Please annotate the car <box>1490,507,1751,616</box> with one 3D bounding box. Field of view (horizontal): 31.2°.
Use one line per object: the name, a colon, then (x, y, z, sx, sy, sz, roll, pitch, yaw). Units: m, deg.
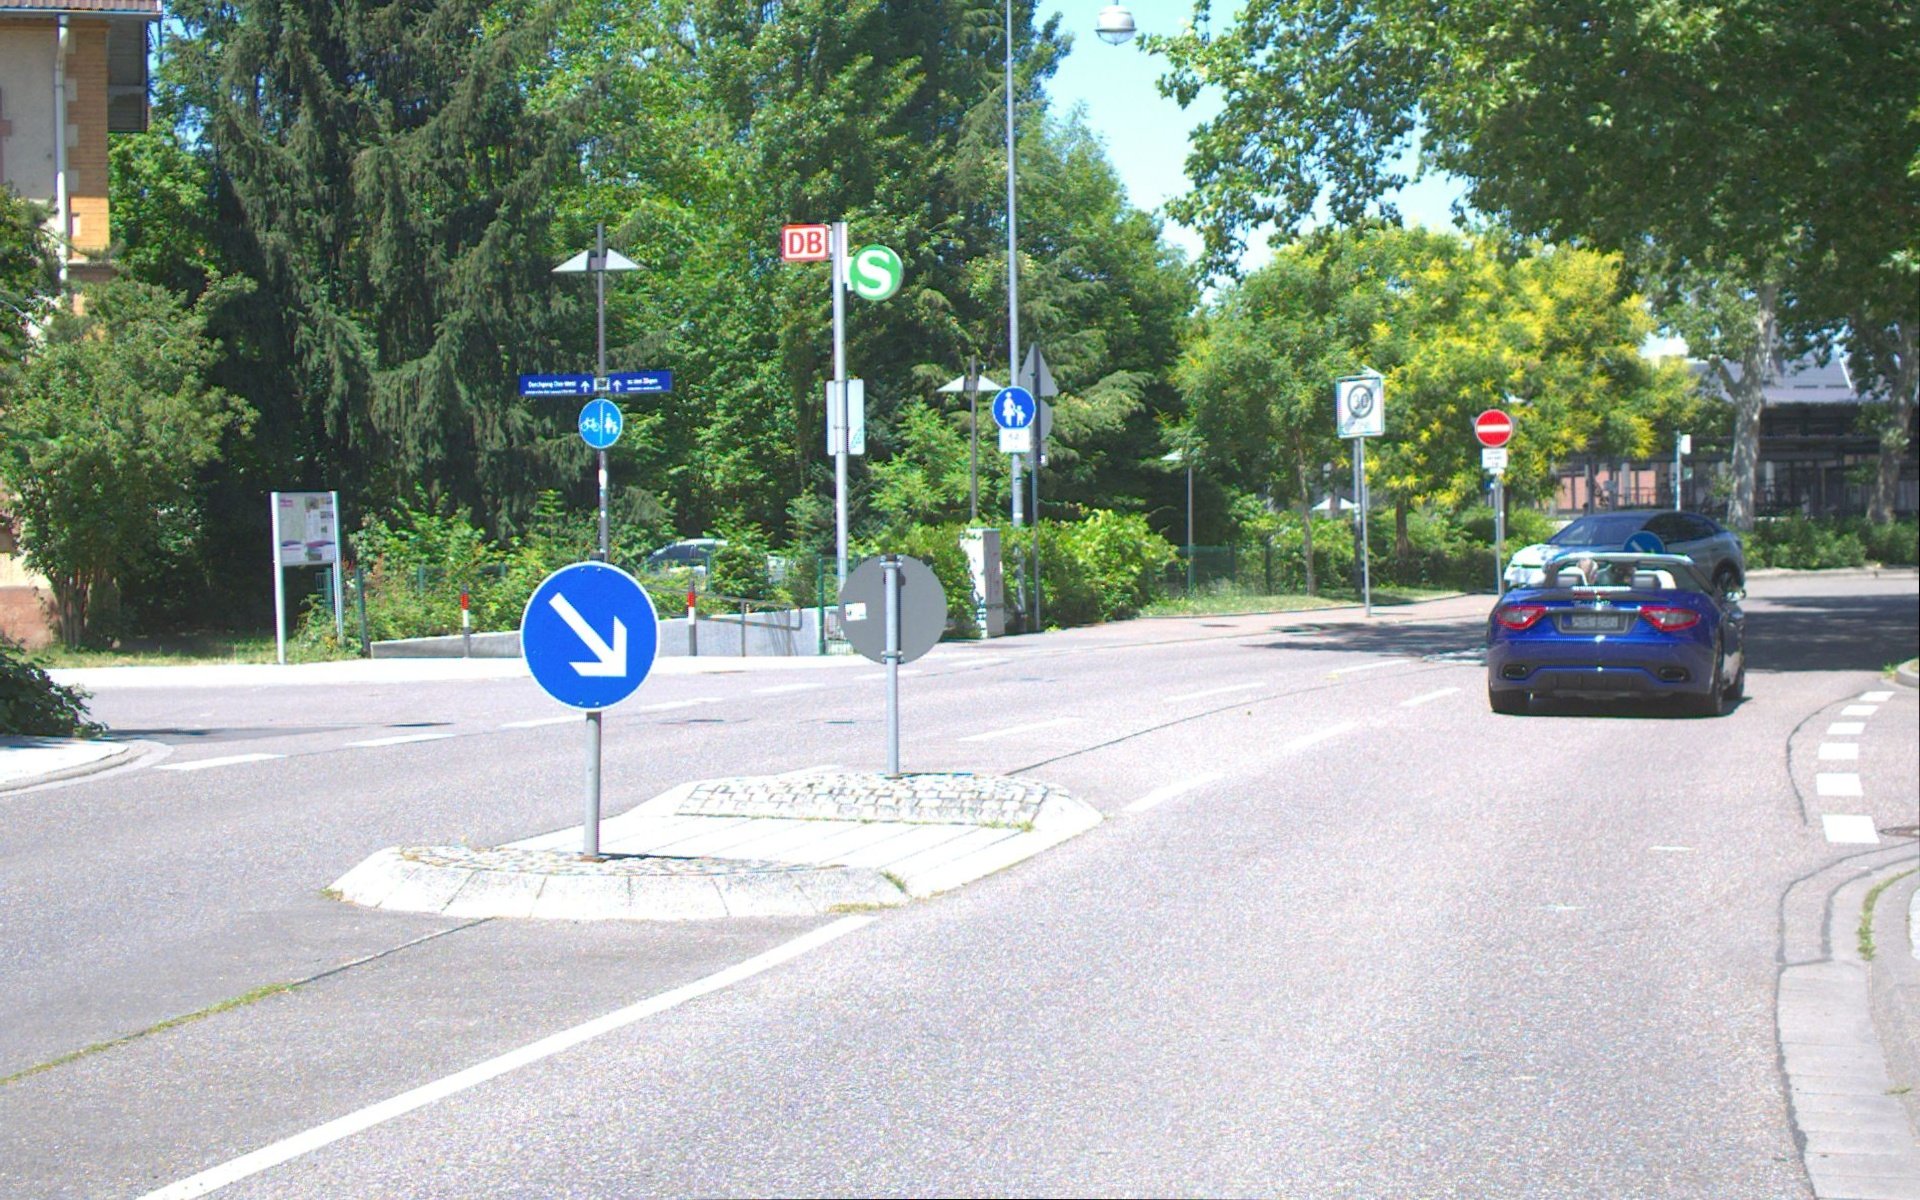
car: (9.898, -0.608, 51.313, 1.849, 1.525, 4.328, 1, 2, 42)
